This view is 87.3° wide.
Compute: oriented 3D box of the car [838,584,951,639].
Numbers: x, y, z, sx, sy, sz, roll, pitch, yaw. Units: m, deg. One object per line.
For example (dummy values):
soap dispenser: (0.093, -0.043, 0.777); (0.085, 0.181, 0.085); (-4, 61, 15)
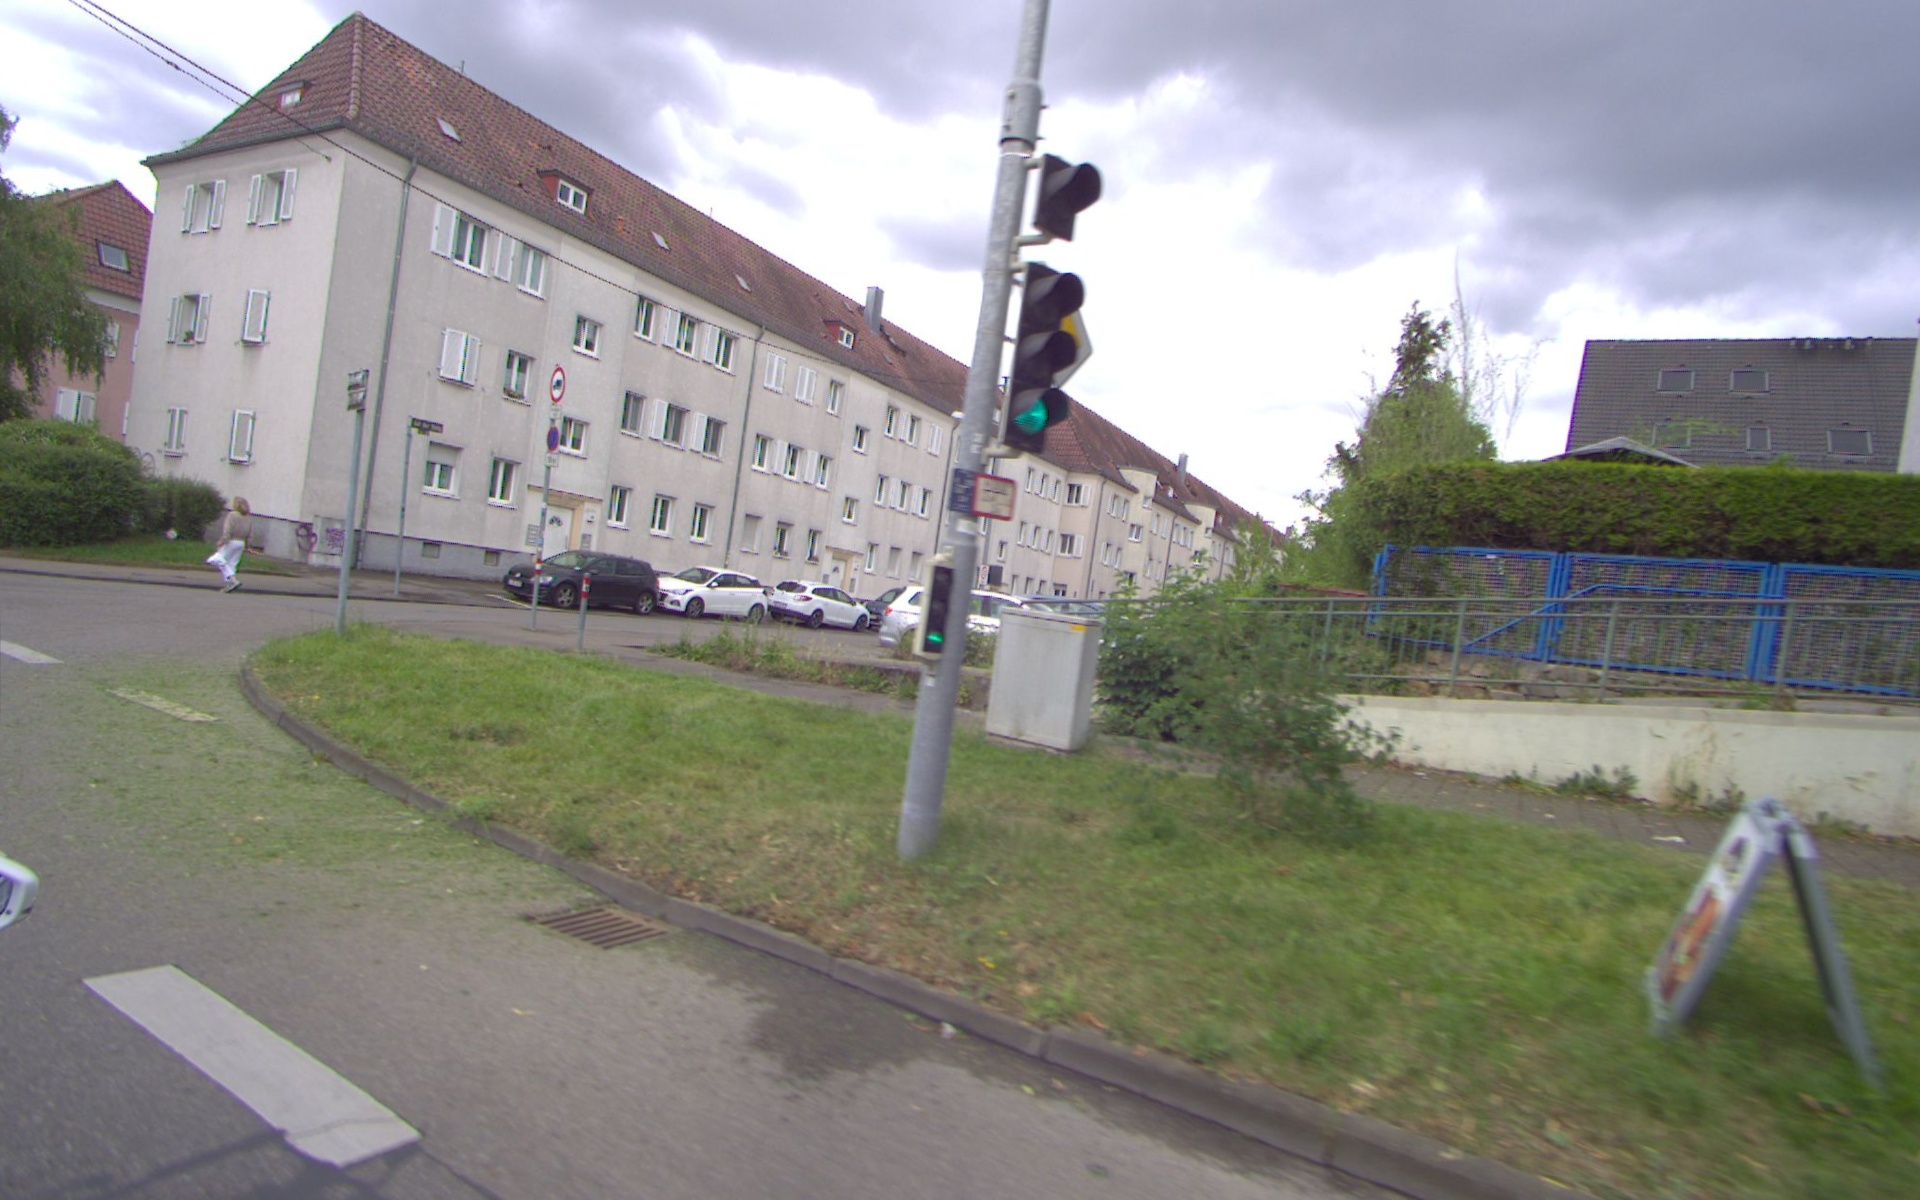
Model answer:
car: (-2.483, 0.491, 39.261); (2.253, 1.584, 4.291); (10, 1, 29)

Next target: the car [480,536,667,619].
car: (-9.839, -0.542, 25.877); (1.968, 1.554, 3.992); (6, -2, 34)

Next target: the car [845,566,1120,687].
car: (0.367, 0.451, 17.530); (4.224, 1.555, 1.998); (6, -1, 29)

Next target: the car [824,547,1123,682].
car: (0.195, 0.210, 15.068); (3.930, 1.490, 1.875); (6, -1, 27)

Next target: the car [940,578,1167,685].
car: (1.829, 0.613, 19.772); (3.907, 1.555, 1.824); (7, -1, 29)

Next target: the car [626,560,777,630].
car: (-7.672, -0.118, 30.187); (1.968, 1.554, 3.992); (6, -2, 34)

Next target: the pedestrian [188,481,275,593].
pedestrian: (-13.072, -1.111, 18.058); (0.937, 1.880, 0.749); (7, 3, 16)

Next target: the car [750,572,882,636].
car: (-4.845, 0.175, 34.476); (1.967, 1.555, 4.289); (10, 0, 34)
